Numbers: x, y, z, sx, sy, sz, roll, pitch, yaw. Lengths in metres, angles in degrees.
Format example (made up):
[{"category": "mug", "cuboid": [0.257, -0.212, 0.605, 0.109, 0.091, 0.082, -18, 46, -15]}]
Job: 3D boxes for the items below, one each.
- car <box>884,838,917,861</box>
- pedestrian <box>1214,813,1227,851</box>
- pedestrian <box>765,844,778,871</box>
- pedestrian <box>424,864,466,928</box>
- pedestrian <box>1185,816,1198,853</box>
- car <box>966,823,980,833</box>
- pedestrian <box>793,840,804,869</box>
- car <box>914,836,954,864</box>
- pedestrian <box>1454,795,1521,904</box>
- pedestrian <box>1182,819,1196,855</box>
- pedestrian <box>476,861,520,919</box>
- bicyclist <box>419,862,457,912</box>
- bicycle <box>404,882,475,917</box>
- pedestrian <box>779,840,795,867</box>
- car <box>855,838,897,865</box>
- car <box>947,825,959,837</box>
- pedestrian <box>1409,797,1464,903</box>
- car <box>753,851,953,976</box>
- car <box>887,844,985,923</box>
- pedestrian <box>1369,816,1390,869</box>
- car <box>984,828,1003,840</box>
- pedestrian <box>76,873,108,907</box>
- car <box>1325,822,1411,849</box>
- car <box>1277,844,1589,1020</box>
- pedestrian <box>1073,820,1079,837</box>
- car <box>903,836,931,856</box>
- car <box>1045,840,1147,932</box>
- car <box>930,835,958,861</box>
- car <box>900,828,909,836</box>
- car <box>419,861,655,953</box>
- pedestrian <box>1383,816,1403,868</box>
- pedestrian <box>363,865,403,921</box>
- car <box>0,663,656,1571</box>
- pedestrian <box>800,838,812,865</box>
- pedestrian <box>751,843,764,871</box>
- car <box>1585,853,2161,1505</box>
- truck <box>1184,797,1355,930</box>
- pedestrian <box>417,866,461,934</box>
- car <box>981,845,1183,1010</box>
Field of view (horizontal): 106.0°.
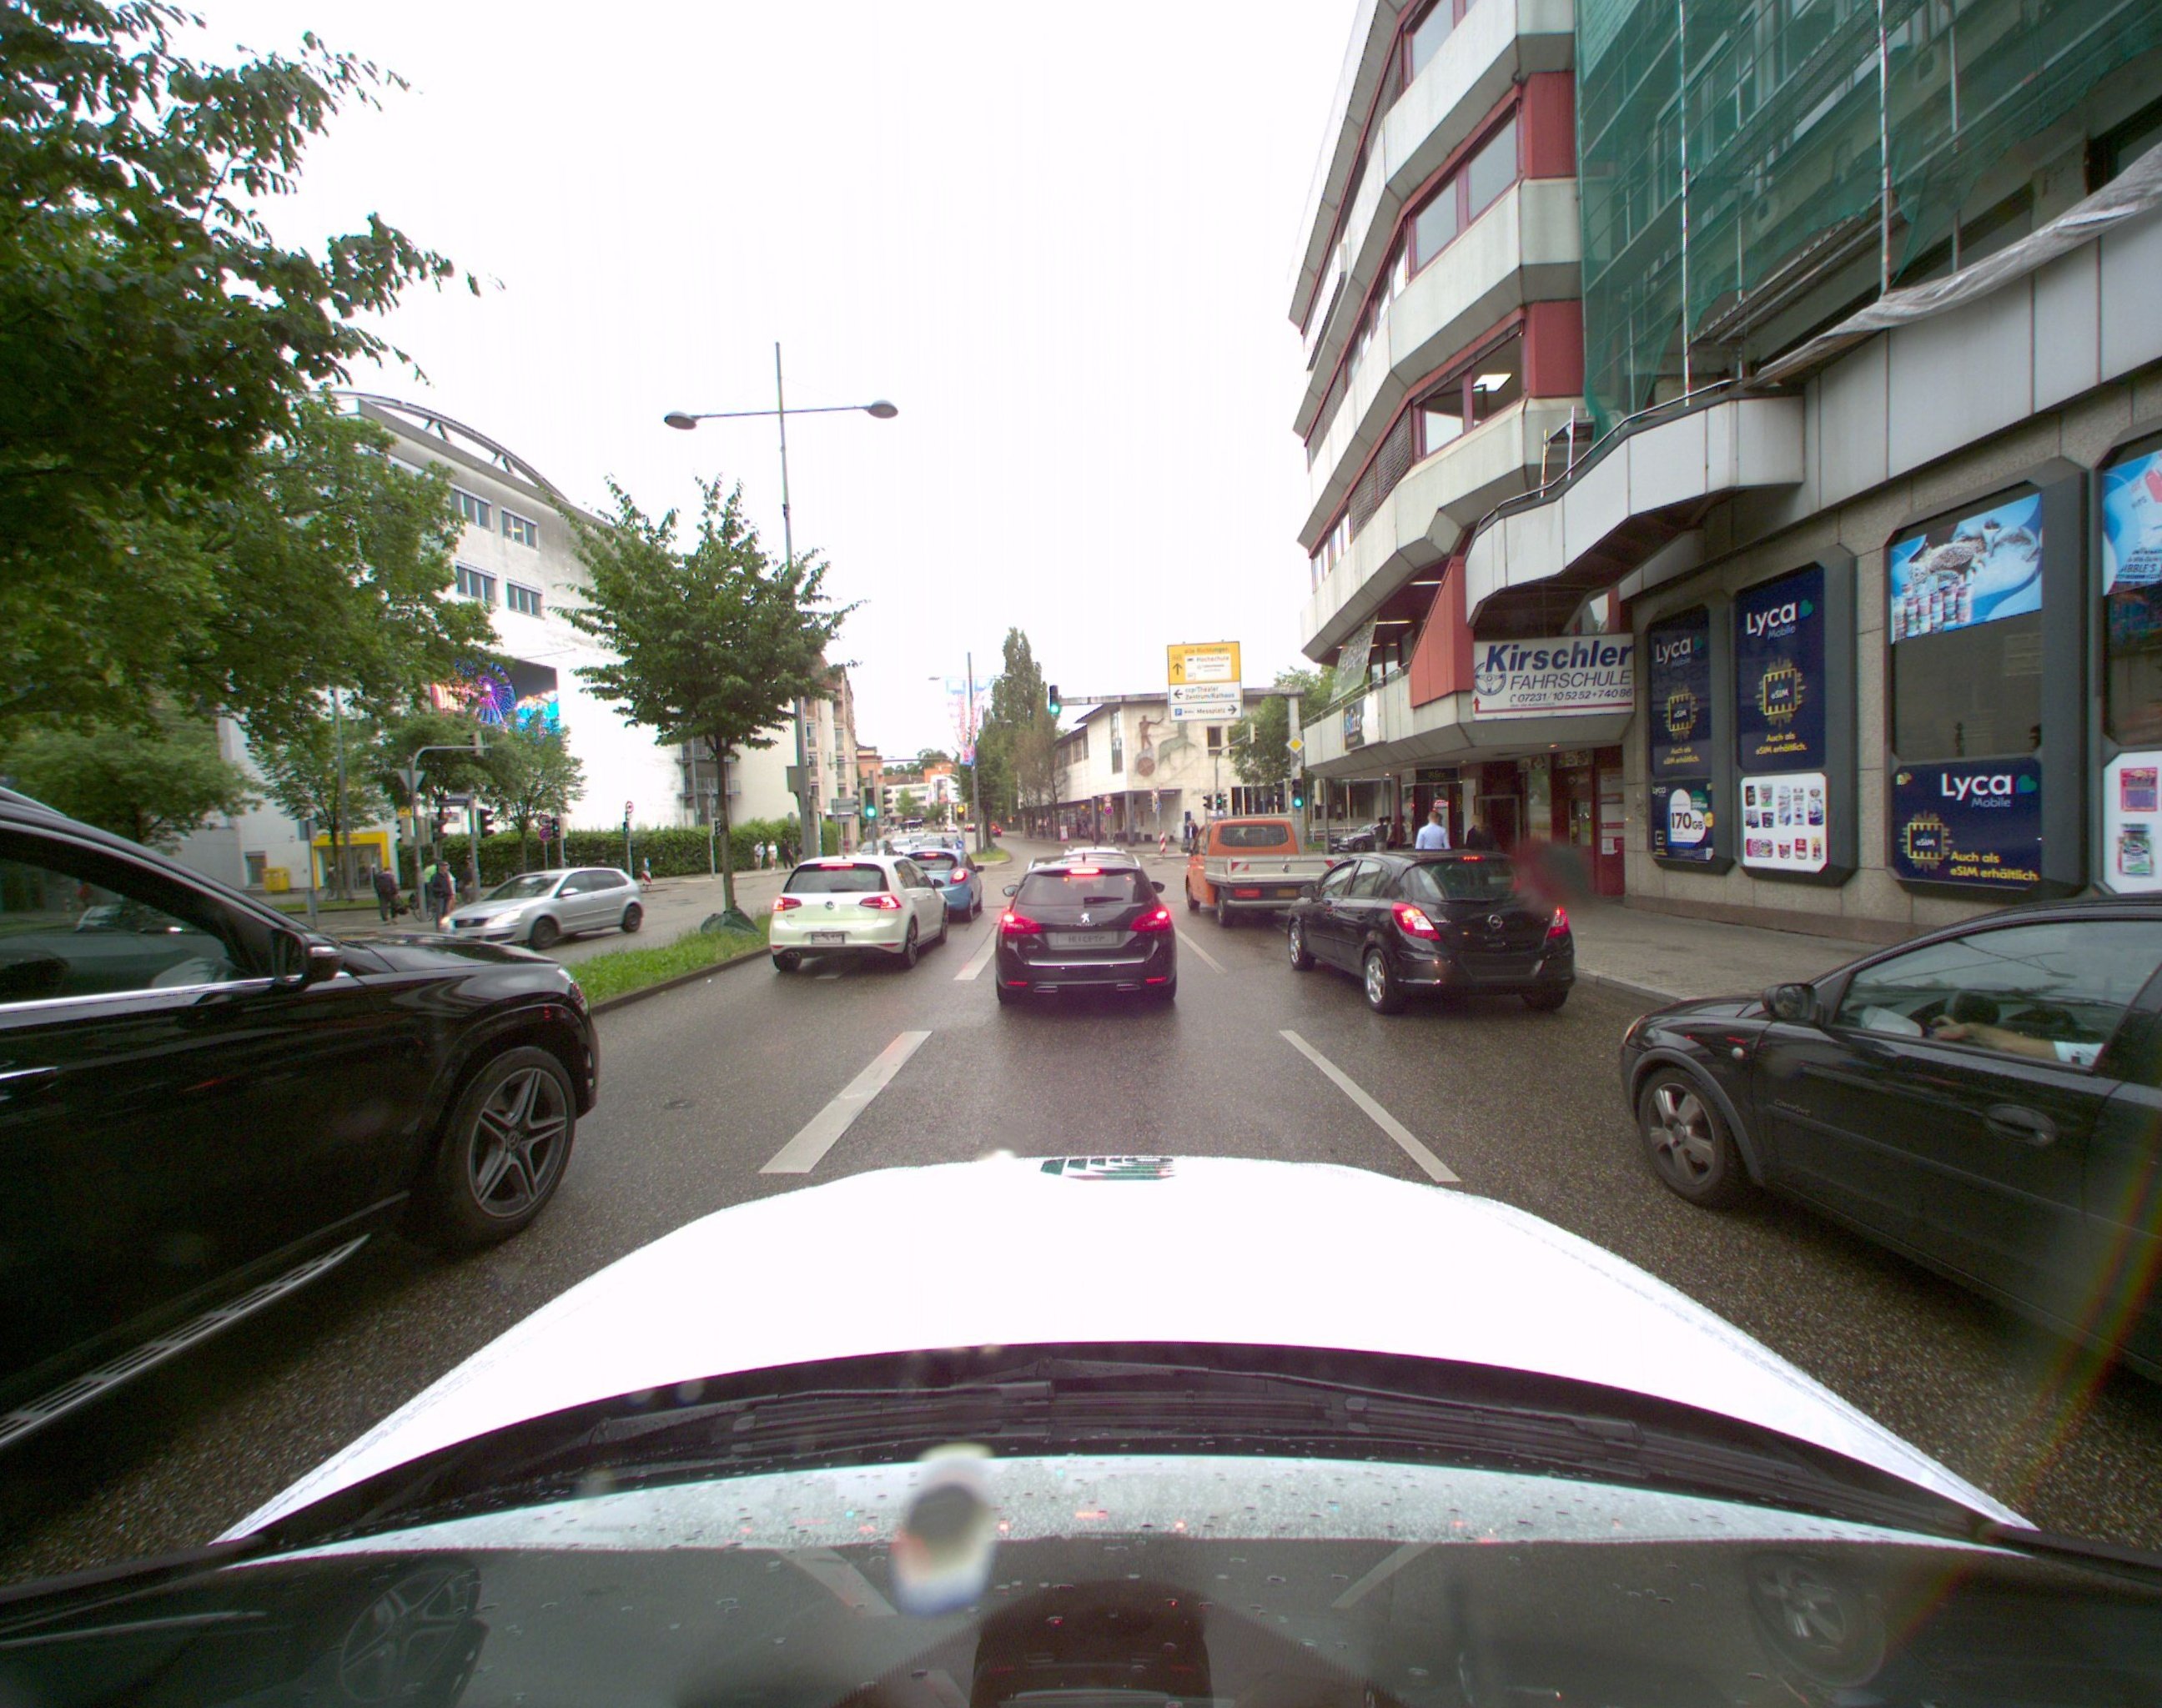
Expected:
[{"category": "car", "cuboid": [-12.064, -0.335, 54.534, 1.630, 1.486, 3.604, -1, 1, -4]}, {"category": "pedestrian", "cuboid": [7.180, -1.128, 41.866, 0.633, 1.897, 0.735, -1, -1, 8]}, {"category": "pedestrian", "cuboid": [-18.411, 0.190, 48.402, 0.579, 1.599, 0.526, -1, -1, -5]}, {"category": "pedestrian", "cuboid": [-16.991, 1.114, 21.767, 0.555, 1.661, 0.580, -2, 2, 2]}, {"category": "pedestrian", "cuboid": [5.733, -0.995, 42.140, 0.633, 1.897, 0.735, -1, -1, 8]}, {"category": "car", "cuboid": [-18.710, -4.499, 140.765, 1.729, 1.490, 4.704, 0, -1, -18]}, {"category": "pedestrian", "cuboid": [-17.565, 0.024, 50.633, 0.538, 1.748, 0.745, 0, -1, -7]}, {"category": "car", "cuboid": [-8.680, -0.205, 48.308, 1.739, 1.579, 3.997, -1, -1, -1]}, {"category": "pedestrian", "cuboid": [7.564, -0.079, 15.179, 0.733, 1.934, 0.640, -5, -1, 1]}, {"category": "pedestrian", "cuboid": [5.349, -0.843, 40.309, 0.633, 1.758, 0.735, -1, -1, 8]}, {"category": "pedestrian", "cuboid": [-17.479, 1.074, 24.423, 0.750, 1.661, 0.628, -2, 2, 1]}, {"category": "bicyclist", "cuboid": [-20.159, 1.018, 25.538, 0.629, 1.530, 0.609, -3, -1, 1]}, {"category": "bicycle", "cuboid": [-20.133, 1.412, 25.603, 0.613, 1.000, 1.941, -3, -1, 2]}, {"category": "pedestrian", "cuboid": [-17.644, -0.027, 48.947, 0.634, 1.643, 0.735, -1, -1, 5]}, {"category": "car", "cuboid": [-11.913, -0.170, 47.429, 1.569, 1.486, 3.608, -1, 1, -1]}, {"category": "car", "cuboid": [-23.109, -4.157, 146.853, 1.709, 1.882, 3.979, 0, -1, -15]}, {"category": "pedestrian", "cuboid": [6.616, -0.066, 15.190, 0.733, 1.935, 0.640, -1, -1, 1]}, {"category": "car", "cuboid": [-3.026, 0.707, 11.661, 1.772, 1.429, 3.841, -1, 1, 0]}, {"category": "car", "cuboid": [-3.040, 0.553, 17.696, 1.629, 1.486, 3.606, -1, 1, -3]}, {"category": "pedestrian", "cuboid": [9.583, -0.372, 26.155, 0.424, 1.682, 0.450, -3, -1, 0]}, {"category": "car", "cuboid": [-11.767, -2.699, 109.421, 1.790, 1.454, 4.485, -5, 3, -14]}, {"category": "pedestrian", "cuboid": [-48.279, 1.754, 39.752, 0.633, 1.643, 0.735, -1, -1, 8]}, {"category": "car", "cuboid": [14.096, -0.879, 40.135, 3.669, 1.212, 1.839, -1, -1, 6]}, {"category": "car", "cuboid": [3.390, 0.623, 8.676, 1.611, 1.429, 3.840, -1, 1, -1]}, {"category": "pedestrian", "cuboid": [-0.470, -2.572, 83.021, 0.469, 1.748, 0.537, 0, -1, -19]}, {"category": "car", "cuboid": [-12.397, -0.619, 61.633, 1.630, 1.486, 3.604, -1, 1, -4]}, {"category": "car", "cuboid": [0.308, 0.507, 15.451, 1.690, 1.486, 3.795, -1, 1, 2]}, {"category": "car", "cuboid": [-9.216, -0.400, 55.065, 1.743, 1.640, 3.988, 0, -1, -9]}, {"category": "car", "cuboid": [-47.710, -5.939, 220.018, 1.999, 2.014, 3.976, 0, -1, -18]}, {"category": "car", "cuboid": [-10.442, 0.983, 16.004, 1.623, 1.468, 3.763, -5, -3, 10]}, {"category": "pedestrian", "cuboid": [10.152, -0.382, 26.504, 0.395, 1.640, 0.504, -3, -1, 2]}, {"category": "pedestrian", "cuboid": [-21.559, 1.189, 25.153, 0.637, 1.666, 0.580, -2, 2, 1]}, {"category": "car", "cuboid": [-3.185, 0.550, 1.666, 1.905, 1.870, 5.073, -1, -1, 1]}, {"category": "pedestrian", "cuboid": [-17.657, -0.165, 52.276, 0.538, 1.748, 0.564, -1, -1, -3]}, {"category": "pedestrian", "cuboid": [-18.953, 0.192, 47.683, 0.579, 1.599, 0.526, -1, -1, -5]}, {"category": "car", "cuboid": [3.268, 0.746, 2.302, 1.600, 1.429, 3.626, -1, 1, 3]}, {"category": "truck", "cuboid": [3.442, 0.103, 15.977, 2.170, 2.172, 5.020, -1, 1, 0]}, {"category": "pedestrian", "cuboid": [-16.314, 1.158, 20.710, 0.555, 1.661, 0.580, -2, 2, 2]}, {"category": "car", "cuboid": [0.098, 0.632, 9.126, 1.770, 1.429, 3.845, -1, 1, 2]}]
